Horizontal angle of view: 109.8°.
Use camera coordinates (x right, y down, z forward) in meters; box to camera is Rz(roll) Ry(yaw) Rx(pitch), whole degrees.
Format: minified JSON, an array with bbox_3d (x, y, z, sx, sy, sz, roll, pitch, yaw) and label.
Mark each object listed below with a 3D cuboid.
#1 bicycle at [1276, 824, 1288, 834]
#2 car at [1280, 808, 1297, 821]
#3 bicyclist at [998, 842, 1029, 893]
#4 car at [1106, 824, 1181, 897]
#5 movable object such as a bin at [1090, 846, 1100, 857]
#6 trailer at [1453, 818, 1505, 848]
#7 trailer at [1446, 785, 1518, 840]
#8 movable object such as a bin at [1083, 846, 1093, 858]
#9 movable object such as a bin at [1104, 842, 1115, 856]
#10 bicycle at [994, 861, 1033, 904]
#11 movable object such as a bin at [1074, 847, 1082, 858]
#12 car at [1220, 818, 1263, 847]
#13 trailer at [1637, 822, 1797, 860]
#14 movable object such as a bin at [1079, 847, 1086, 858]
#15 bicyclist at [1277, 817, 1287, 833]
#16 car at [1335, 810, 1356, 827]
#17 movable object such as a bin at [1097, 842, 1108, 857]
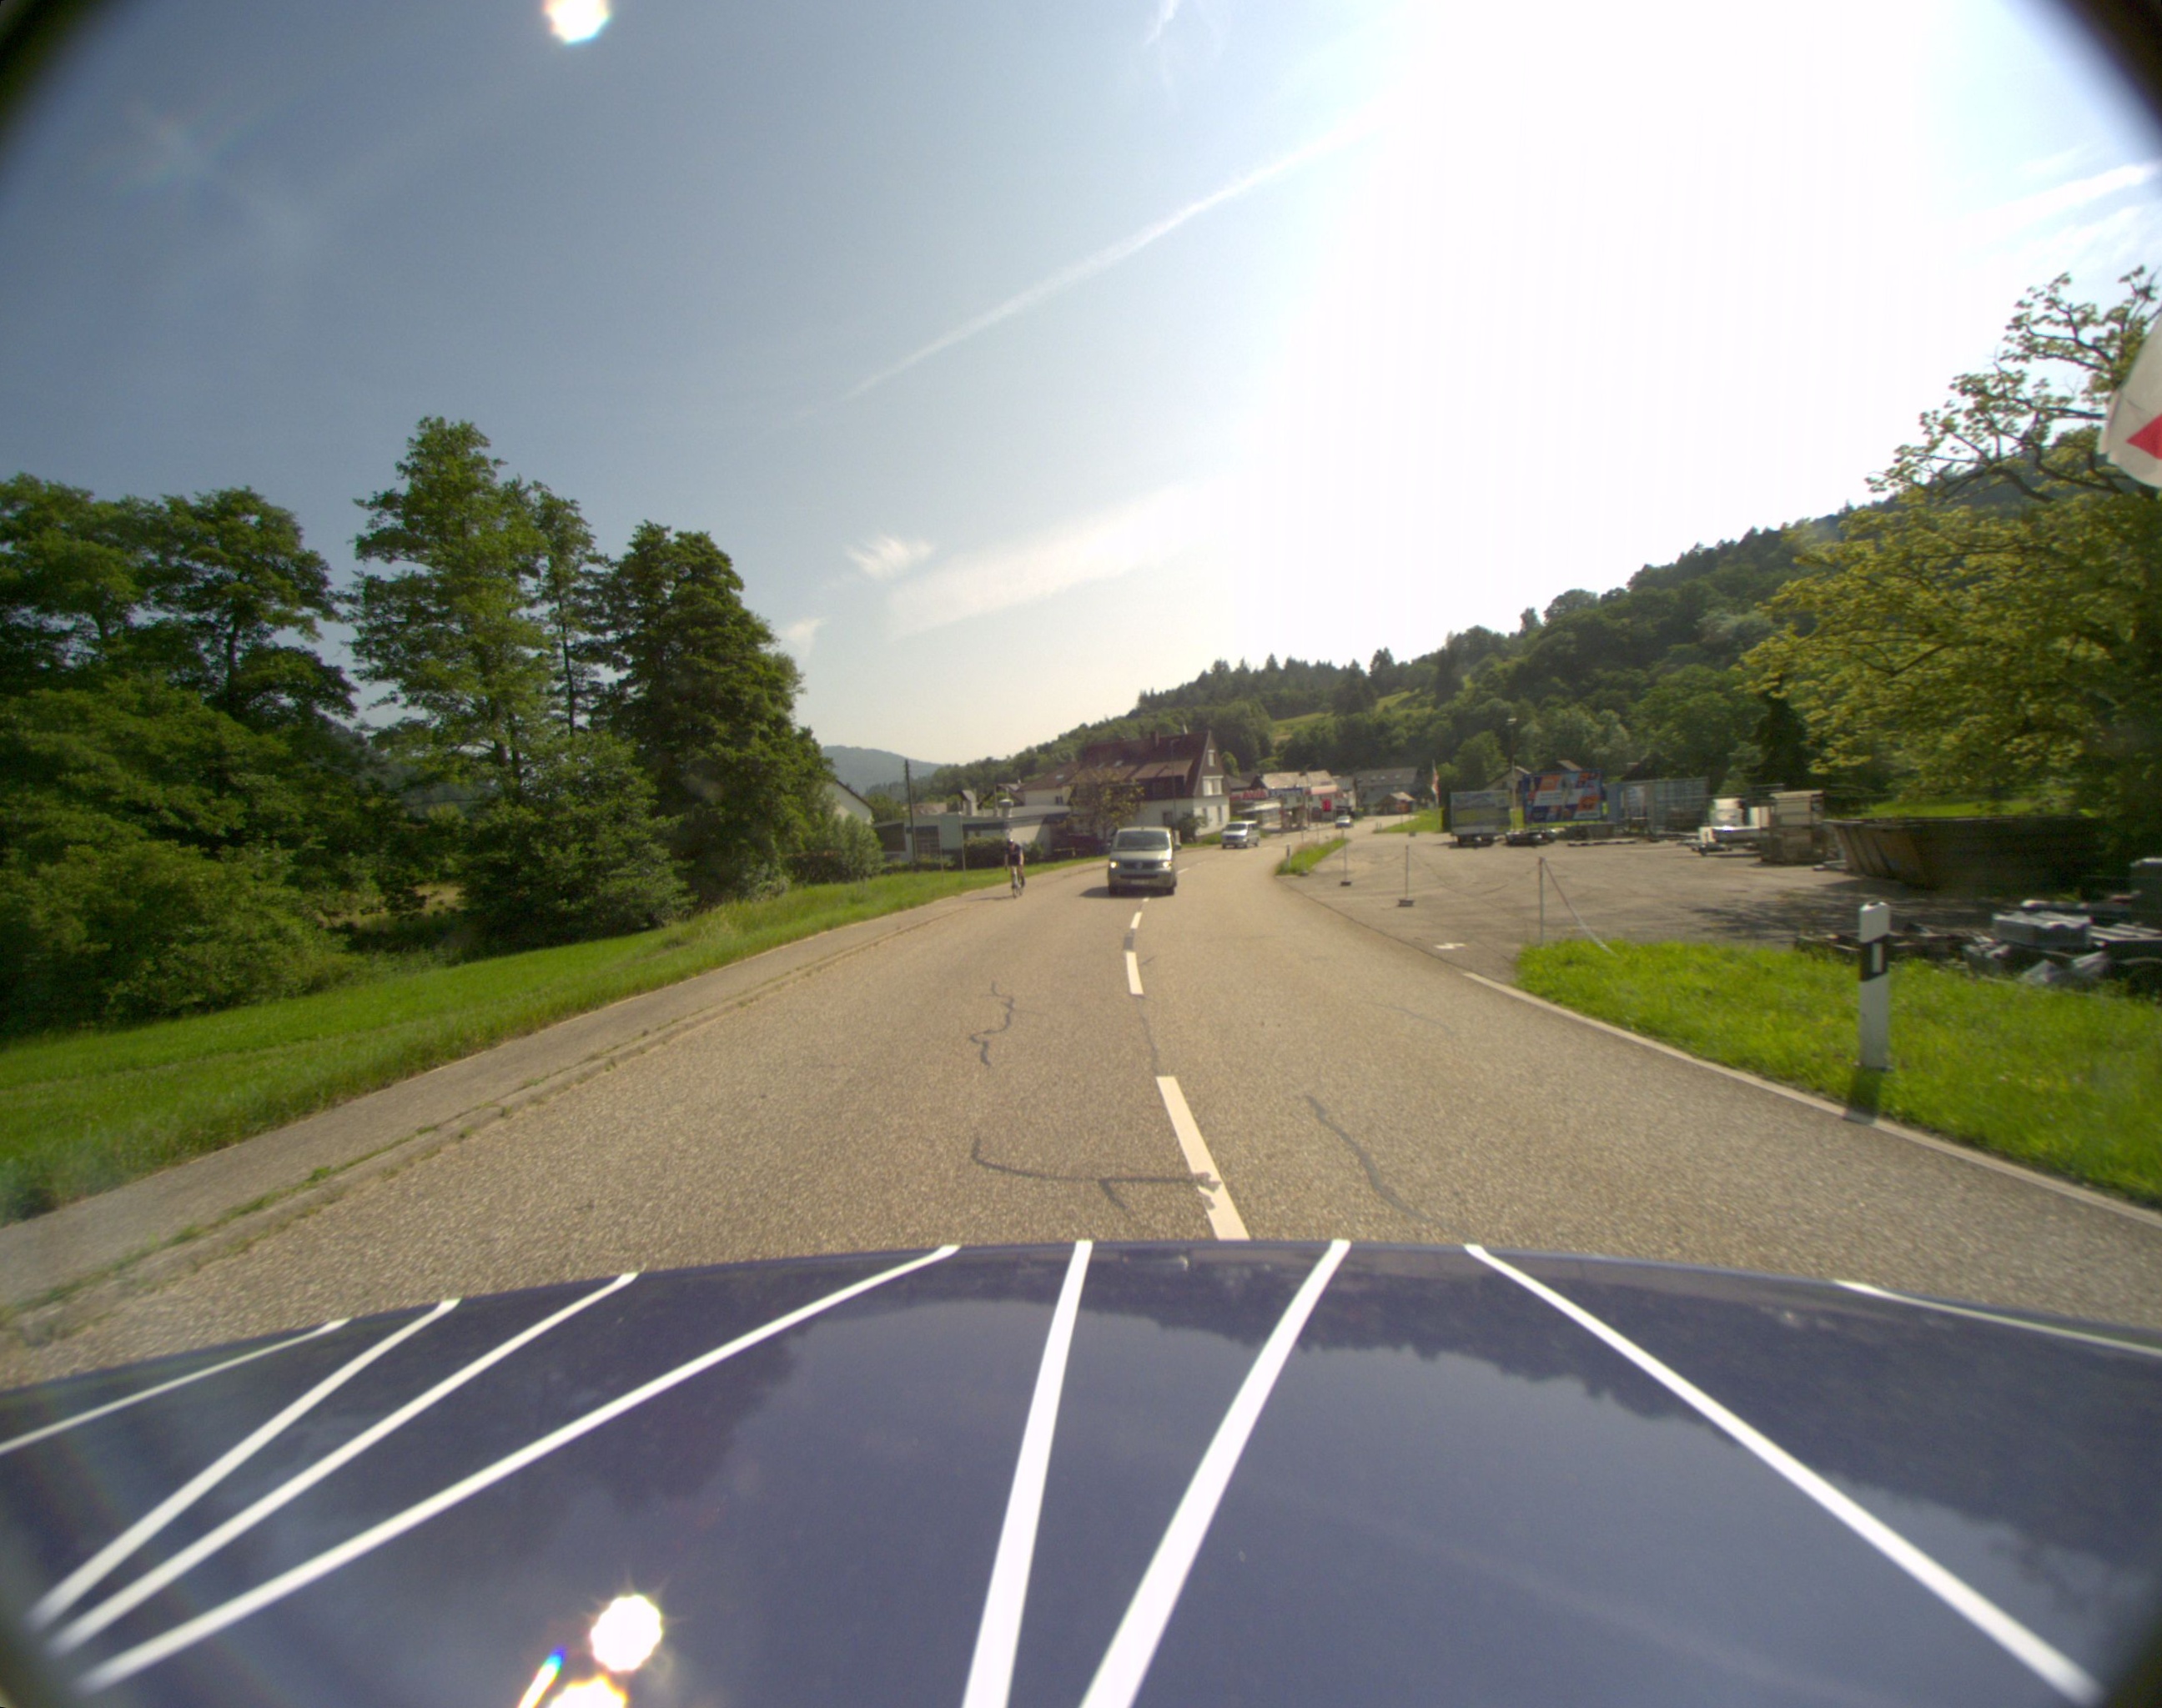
[{"bbox_3d":[20.481,-2.565,77.406,0.689,0.912,1.952,-5,0,25],"label":"bicycle"},{"bbox_3d":[32.022,-6.126,117.149,1.681,1.806,4.004,-4,3,28],"label":"car"},{"bbox_3d":[-1.854,0.359,21.031,0.580,1.335,1.145,1,3,10],"label":"bicyclist"},{"bbox_3d":[1.923,0.094,23.261,2.023,1.971,5.048,0,2,5],"label":"car"},{"bbox_3d":[1.159,-0.225,63.882,0.569,0.895,0.587,-4,3,19],"label":"movable object such as a bin"},{"bbox_3d":[21.033,-1.149,40.330,1.995,1.220,5.552,-4,3,24],"label":"trailer"},{"bbox_3d":[23.394,-2.412,44.484,3.395,2.896,1.885,-4,3,21],"label":"trailer"},{"bbox_3d":[0.602,-0.183,64.068,0.569,0.895,0.587,-4,3,19],"label":"movable object such as a bin"},{"bbox_3d":[2.385,-0.428,63.474,0.569,1.112,0.794,-4,3,19],"label":"movable object such as a bin"},{"bbox_3d":[-1.840,0.760,20.981,0.580,1.029,1.991,1,3,10],"label":"bicycle"},{"bbox_3d":[-0.273,-0.118,64.390,0.419,0.895,0.587,-4,3,19],"label":"movable object such as a bin"},{"bbox_3d":[11.702,-1.600,55.175,1.892,1.847,4.709,-2,3,26],"label":"car"},{"bbox_3d":[22.085,-0.457,26.605,3.936,0.934,1.869,-3,4,26],"label":"trailer"},{"bbox_3d":[0.132,-0.148,64.243,0.419,0.895,0.587,-4,3,19],"label":"movable object such as a bin"},{"bbox_3d":[20.520,-2.956,77.527,0.689,1.623,1.142,-5,1,24],"label":"bicyclist"},{"bbox_3d":[31.718,-4.249,90.965,1.764,1.737,3.984,-3,4,27],"label":"car"},{"bbox_3d":[1.824,-0.385,63.661,0.569,1.112,0.799,-4,3,19],"label":"movable object such as a bin"}]
